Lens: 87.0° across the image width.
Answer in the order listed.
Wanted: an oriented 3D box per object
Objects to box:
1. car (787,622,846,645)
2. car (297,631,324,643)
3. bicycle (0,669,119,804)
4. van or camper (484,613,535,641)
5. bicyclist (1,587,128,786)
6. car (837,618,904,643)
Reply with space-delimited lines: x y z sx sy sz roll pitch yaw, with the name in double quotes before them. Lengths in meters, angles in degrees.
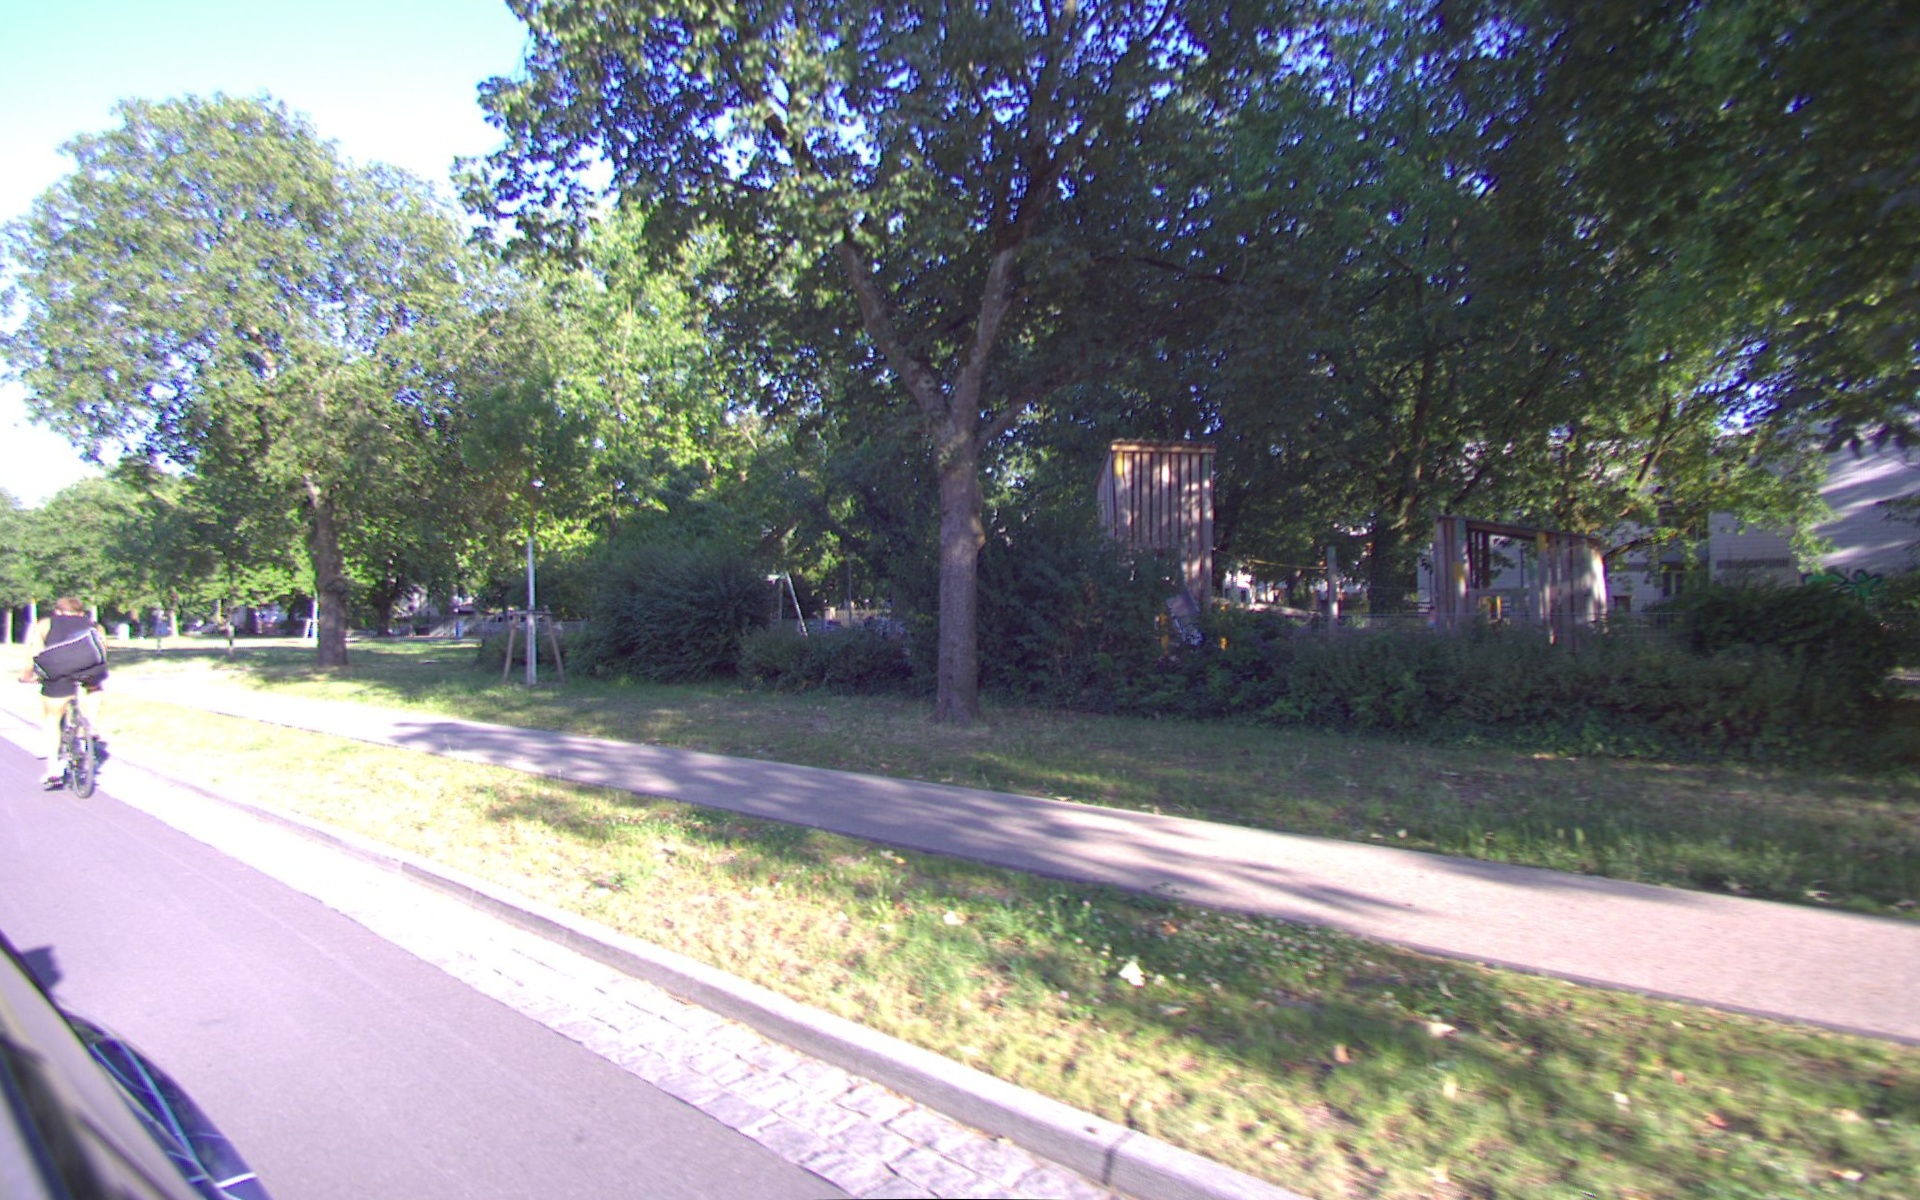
"car" -8.916 2.093 62.795 3.790 1.378 1.506 -2 -1 41
"car" -80.520 4.595 125.496 3.997 1.475 1.774 -2 -1 40
"bicycle" -8.248 1.192 9.242 1.913 1.039 0.550 -1 -2 41
"van or camper" -40.277 2.442 90.422 5.461 2.458 1.974 -2 -3 39
"bicyclist" -8.164 0.742 9.221 1.172 1.685 0.674 -1 -2 41
"car" -5.274 1.783 59.375 4.105 1.378 1.506 -2 -1 41
